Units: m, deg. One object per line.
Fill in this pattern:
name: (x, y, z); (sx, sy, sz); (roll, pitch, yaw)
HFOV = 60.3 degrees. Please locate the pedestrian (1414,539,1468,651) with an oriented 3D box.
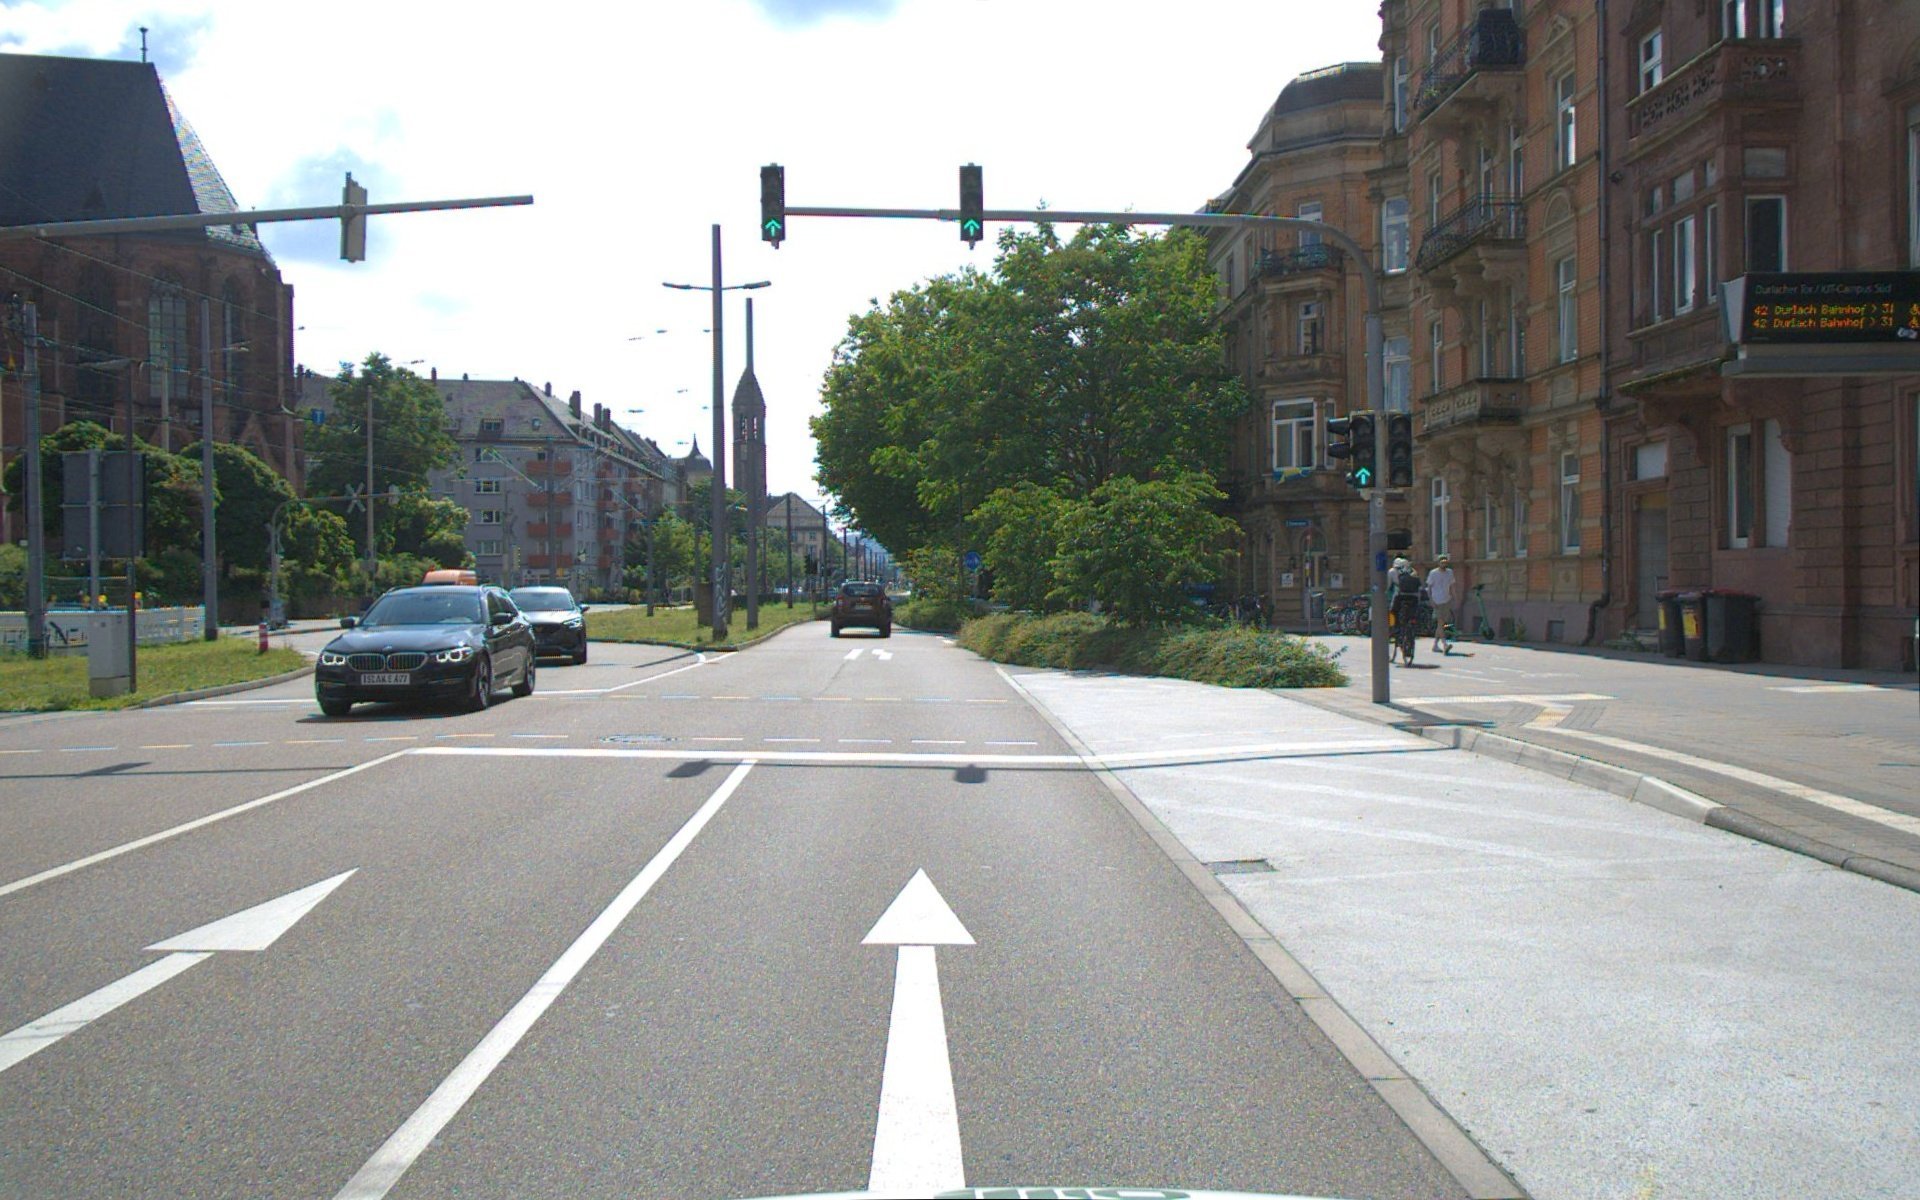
pedestrian: (9.005, -0.100, 30.967); (0.752, 2.049, 0.715); (-1, 0, -1)

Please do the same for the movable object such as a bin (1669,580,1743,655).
movable object such as a bin: (11.538, 0.266, 25.602); (0.770, 1.127, 0.776); (-1, 0, -3)

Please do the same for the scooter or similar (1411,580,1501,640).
scooter or similar: (10.618, 0.211, 35.424); (1.733, 1.205, 0.466); (-3, 0, -2)

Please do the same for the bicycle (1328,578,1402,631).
bicycle: (10.168, 0.110, 41.549); (1.732, 1.290, 0.467); (-1, 2, 2)

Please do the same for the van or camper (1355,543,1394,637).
van or camper: (9.203, -0.227, 36.738); (0.652, 2.049, 0.638); (-1, 0, -2)

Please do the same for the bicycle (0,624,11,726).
bicycle: (-11.863, 0.866, 18.526); (1.975, 1.146, 0.932); (-1, 0, 9)

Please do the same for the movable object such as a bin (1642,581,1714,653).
movable object such as a bin: (11.496, 0.266, 26.495); (0.770, 1.127, 0.776); (-1, 0, -3)

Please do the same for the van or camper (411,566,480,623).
van or camper: (-26.704, -0.287, 86.038); (2.212, 2.785, 6.195); (-1, 0, -6)

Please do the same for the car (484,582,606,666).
car: (-8.363, 0.439, 33.657); (1.764, 1.579, 4.291); (-1, 0, -5)

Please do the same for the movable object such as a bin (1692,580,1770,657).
movable object such as a bin: (11.574, 0.270, 24.847); (0.770, 1.127, 0.776); (-1, 0, -3)

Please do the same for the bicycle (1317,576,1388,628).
bicycle: (10.100, 0.047, 42.564); (1.732, 1.290, 0.467); (-1, 2, 2)

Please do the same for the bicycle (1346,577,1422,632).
bicycle: (10.283, 0.103, 40.124); (1.732, 1.290, 0.467); (-1, 2, 2)

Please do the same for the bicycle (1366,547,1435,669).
bicycle: (7.328, 0.123, 27.563); (0.669, 1.959, 1.589); (-1, 0, -1)

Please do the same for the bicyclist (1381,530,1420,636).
bicyclist: (7.359, -0.289, 27.634); (0.419, 1.748, 0.828); (-1, 1, -1)

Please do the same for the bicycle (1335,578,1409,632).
bicycle: (10.186, 0.117, 40.925); (1.732, 1.290, 0.467); (-1, 2, 2)

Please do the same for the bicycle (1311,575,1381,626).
bicycle: (10.083, 0.015, 43.224); (1.732, 1.290, 0.467); (-1, 2, 2)

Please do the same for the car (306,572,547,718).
car: (-6.450, 0.482, 20.539); (1.782, 1.579, 4.556); (-1, 0, -4)

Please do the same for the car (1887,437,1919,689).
car: (10.831, -0.356, 14.535); (1.953, 2.569, 5.887); (-1, 1, -2)

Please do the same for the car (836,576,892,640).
car: (-2.933, 0.197, 50.651); (1.655, 1.740, 3.607); (-1, 3, -3)

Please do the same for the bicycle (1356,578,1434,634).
bicycle: (10.351, 0.146, 39.355); (1.732, 1.290, 0.467); (-1, 2, 2)

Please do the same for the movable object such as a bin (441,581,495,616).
movable object such as a bin: (-27.384, -0.113, 92.215); (2.164, 1.723, 3.714); (-1, 3, -5)

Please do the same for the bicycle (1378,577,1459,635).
bicycle: (10.560, 0.141, 38.100); (1.732, 1.290, 0.467); (-1, 2, 2)

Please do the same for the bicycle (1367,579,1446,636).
bicycle: (10.434, 0.181, 38.680); (1.709, 1.290, 0.467); (-1, 2, 2)
